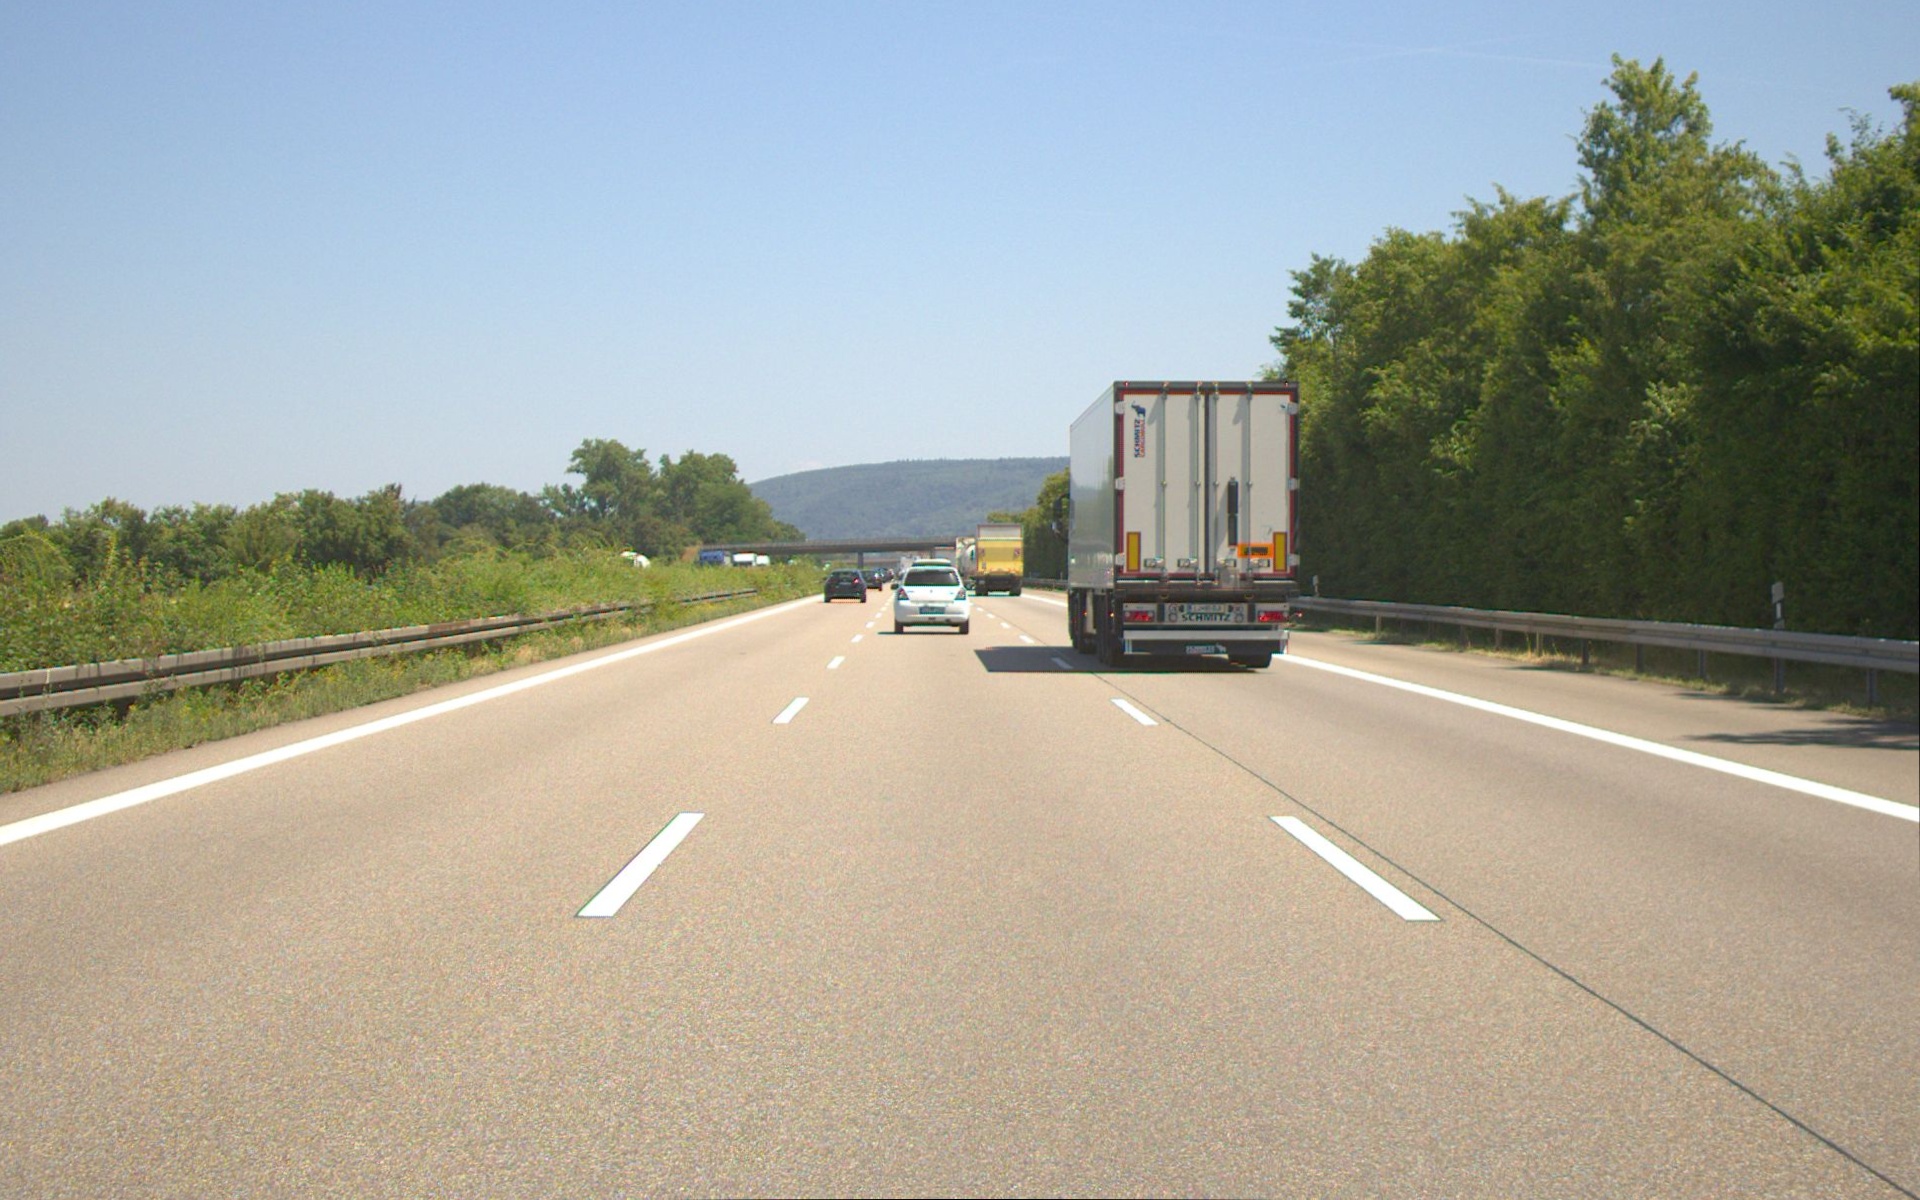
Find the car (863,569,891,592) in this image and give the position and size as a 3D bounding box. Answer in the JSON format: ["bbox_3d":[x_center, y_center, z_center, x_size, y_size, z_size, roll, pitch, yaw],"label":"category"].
[{"bbox_3d":[-5.671,-1.312,235.108,1.795,1.545,4.000,0,0,0],"label":"car"}]

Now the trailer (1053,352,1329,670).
[{"bbox_3d":[3.374,-1.329,54.263,3.218,4.330,13.630,1,1,-1],"label":"trailer"}]

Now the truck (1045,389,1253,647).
[{"bbox_3d":[3.283,-1.434,61.598,3.218,4.330,6.591,1,1,-1],"label":"truck"}]

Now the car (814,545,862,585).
[{"bbox_3d":[-5.268,-1.521,148.615,1.993,1.706,4.000,1,1,-1],"label":"car"}]

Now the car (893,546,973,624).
[{"bbox_3d":[-0.637,-0.354,77.752,1.732,1.678,4.000,-1,1,-1],"label":"car"}]

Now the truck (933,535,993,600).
[{"bbox_3d":[0.173,-2.385,254.619,4.271,4.636,13.860,0,0,0],"label":"truck"}]

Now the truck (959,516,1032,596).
[{"bbox_3d":[1.926,-2.508,195.521,3.871,4.330,13.861,1,1,0],"label":"truck"}]
